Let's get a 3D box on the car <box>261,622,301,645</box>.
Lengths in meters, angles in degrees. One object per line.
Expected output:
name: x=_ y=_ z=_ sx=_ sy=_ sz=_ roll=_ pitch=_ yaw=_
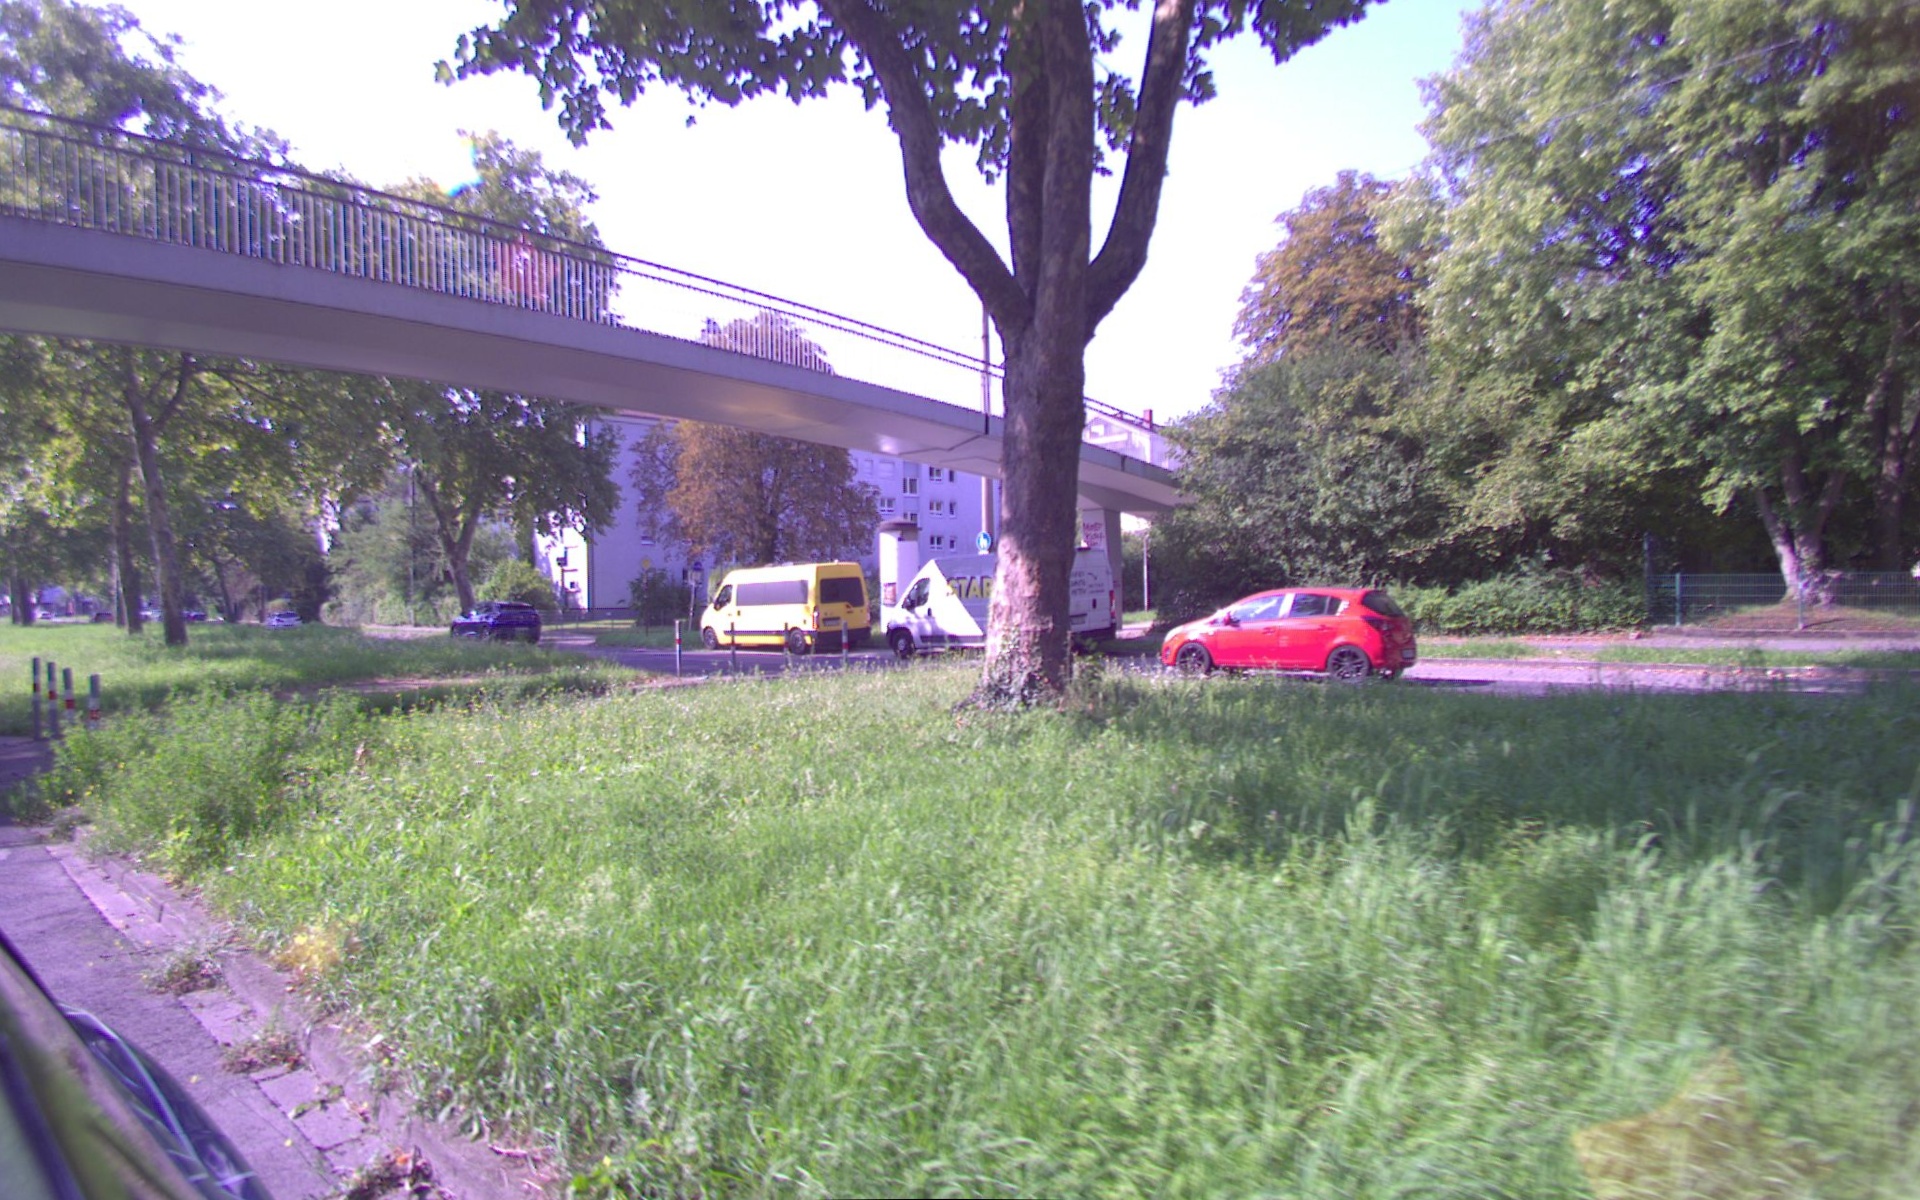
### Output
car: x=-48.173 y=2.337 z=71.773 sx=3.900 sy=1.490 sz=1.626 roll=-1 pitch=1 yaw=45

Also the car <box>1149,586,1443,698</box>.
car: x=5.211 y=0.606 z=15.979 sx=4.066 sy=1.544 sz=1.674 roll=-1 pitch=0 yaw=40

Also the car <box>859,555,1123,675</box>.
car: x=0.571 y=0.319 z=24.022 sx=6.263 sy=2.448 sz=2.185 roll=-1 pitch=3 yaw=42

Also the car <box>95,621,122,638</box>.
car: x=-90.122 y=3.086 z=107.087 sx=4.859 sy=1.629 sz=1.755 roll=-1 pitch=1 yaw=45

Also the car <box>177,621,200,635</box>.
car: x=-81.886 y=2.969 z=107.374 sx=1.590 sy=1.301 sz=3.526 roll=-2 pitch=1 yaw=-43

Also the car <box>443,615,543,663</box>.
car: x=-16.925 y=1.355 z=36.602 sx=4.457 sy=1.544 sz=1.768 roll=-1 pitch=1 yaw=44

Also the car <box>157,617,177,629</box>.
car: x=-93.873 y=2.745 z=119.804 sx=1.590 sy=1.417 sz=3.526 roll=0 pitch=-1 yaw=-43

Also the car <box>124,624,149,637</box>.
car: x=-89.659 y=3.296 z=110.190 sx=3.899 sy=1.375 sz=1.627 roll=-2 pitch=0 yaw=43

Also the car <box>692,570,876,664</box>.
car: x=-5.275 y=0.447 z=29.635 sx=6.063 sy=2.498 sz=2.183 roll=-1 pitch=1 yaw=45
